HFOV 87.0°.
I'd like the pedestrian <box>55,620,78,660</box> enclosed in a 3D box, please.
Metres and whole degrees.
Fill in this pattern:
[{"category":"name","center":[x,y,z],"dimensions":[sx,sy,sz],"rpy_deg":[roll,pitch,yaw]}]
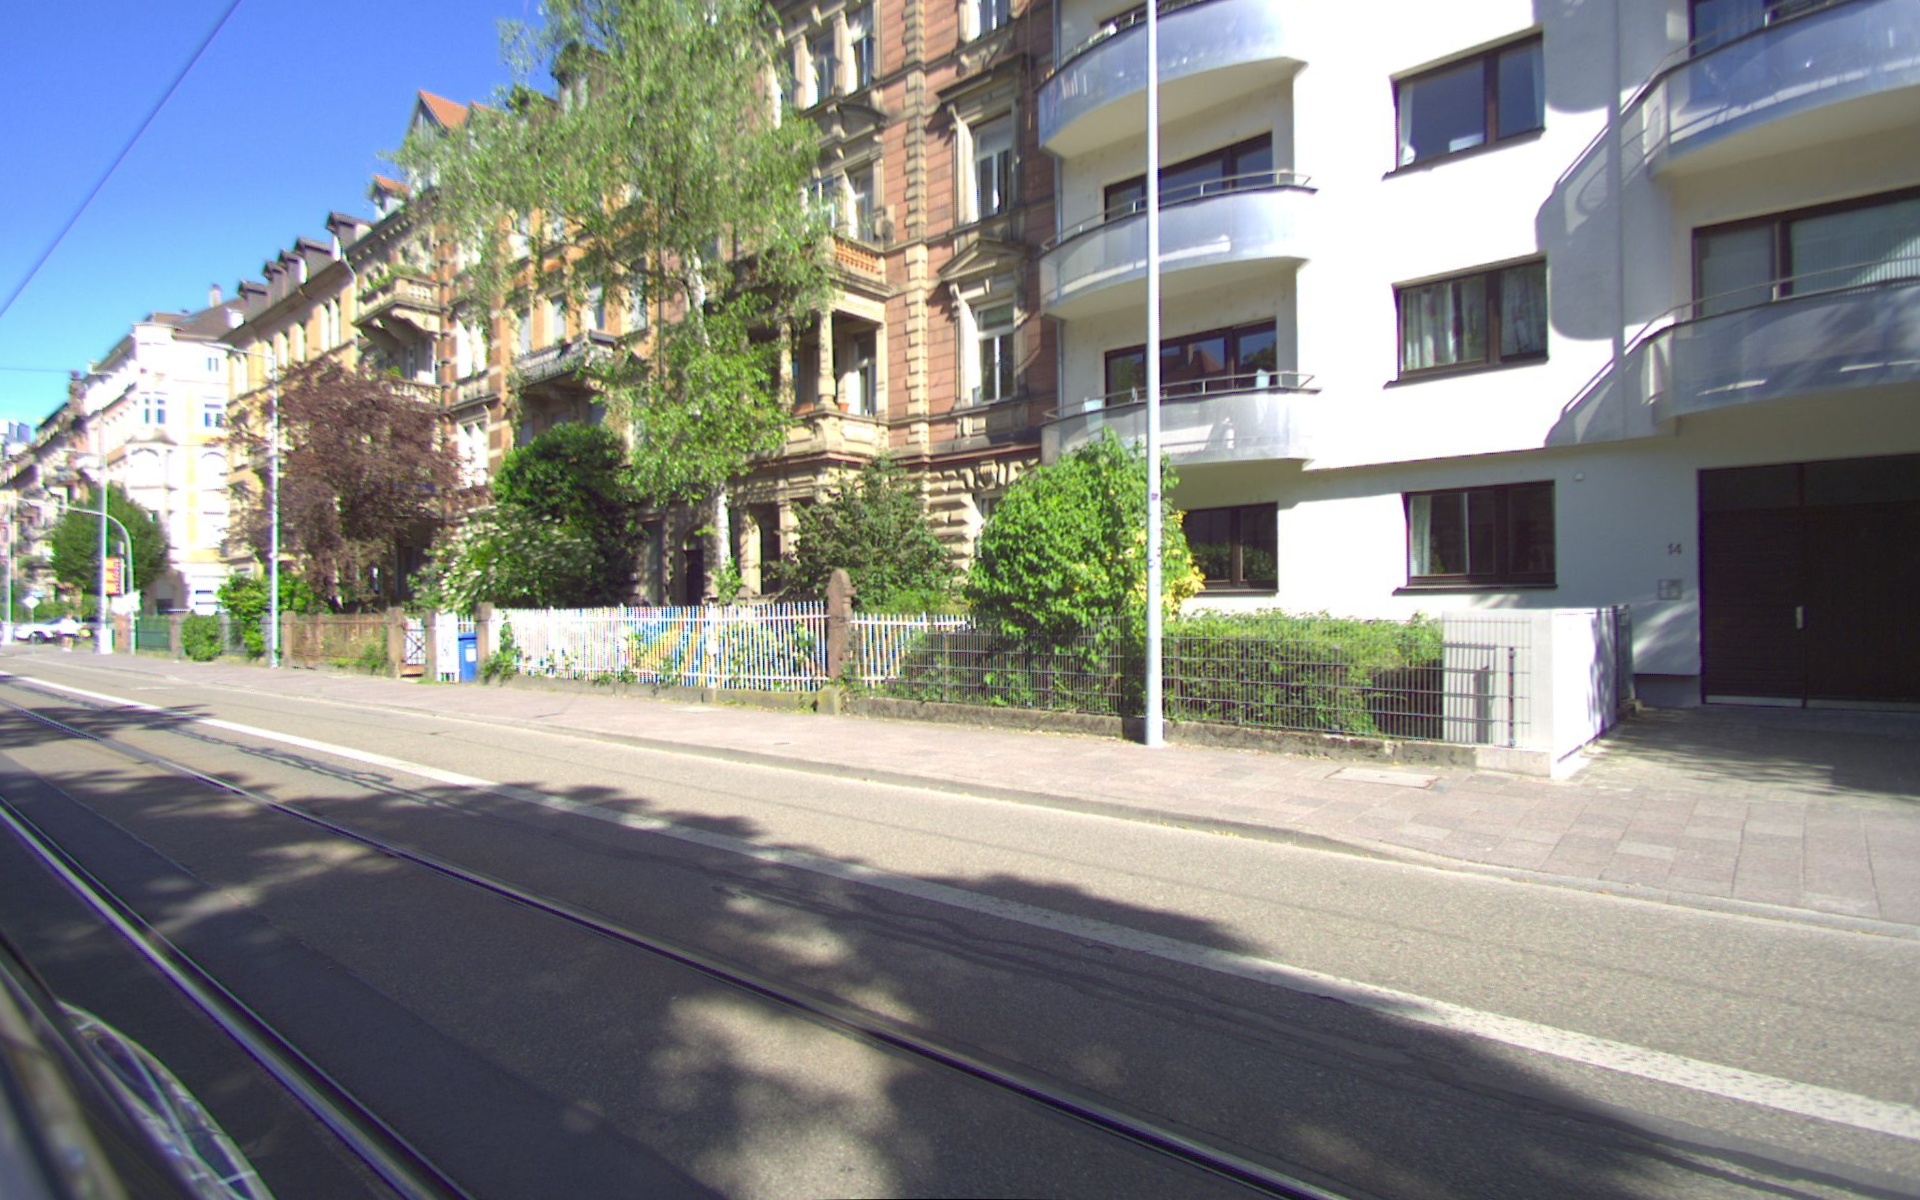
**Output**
[{"category":"pedestrian","center":[-42.456,1.902,48.068],"dimensions":[0.798,1.850,0.755],"rpy_deg":[0,-2,-41]}]

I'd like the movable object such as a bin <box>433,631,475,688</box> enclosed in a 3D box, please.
[{"category":"movable object such as a bin","center":[-10.770,1.259,21.540],"dimensions":[0.664,1.184,0.583],"rpy_deg":[-2,-2,36]}]

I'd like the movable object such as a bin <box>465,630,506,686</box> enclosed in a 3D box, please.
[{"category":"movable object such as a bin","center":[-10.355,1.259,22.092],"dimensions":[0.664,1.184,0.583],"rpy_deg":[-2,-2,36]}]
